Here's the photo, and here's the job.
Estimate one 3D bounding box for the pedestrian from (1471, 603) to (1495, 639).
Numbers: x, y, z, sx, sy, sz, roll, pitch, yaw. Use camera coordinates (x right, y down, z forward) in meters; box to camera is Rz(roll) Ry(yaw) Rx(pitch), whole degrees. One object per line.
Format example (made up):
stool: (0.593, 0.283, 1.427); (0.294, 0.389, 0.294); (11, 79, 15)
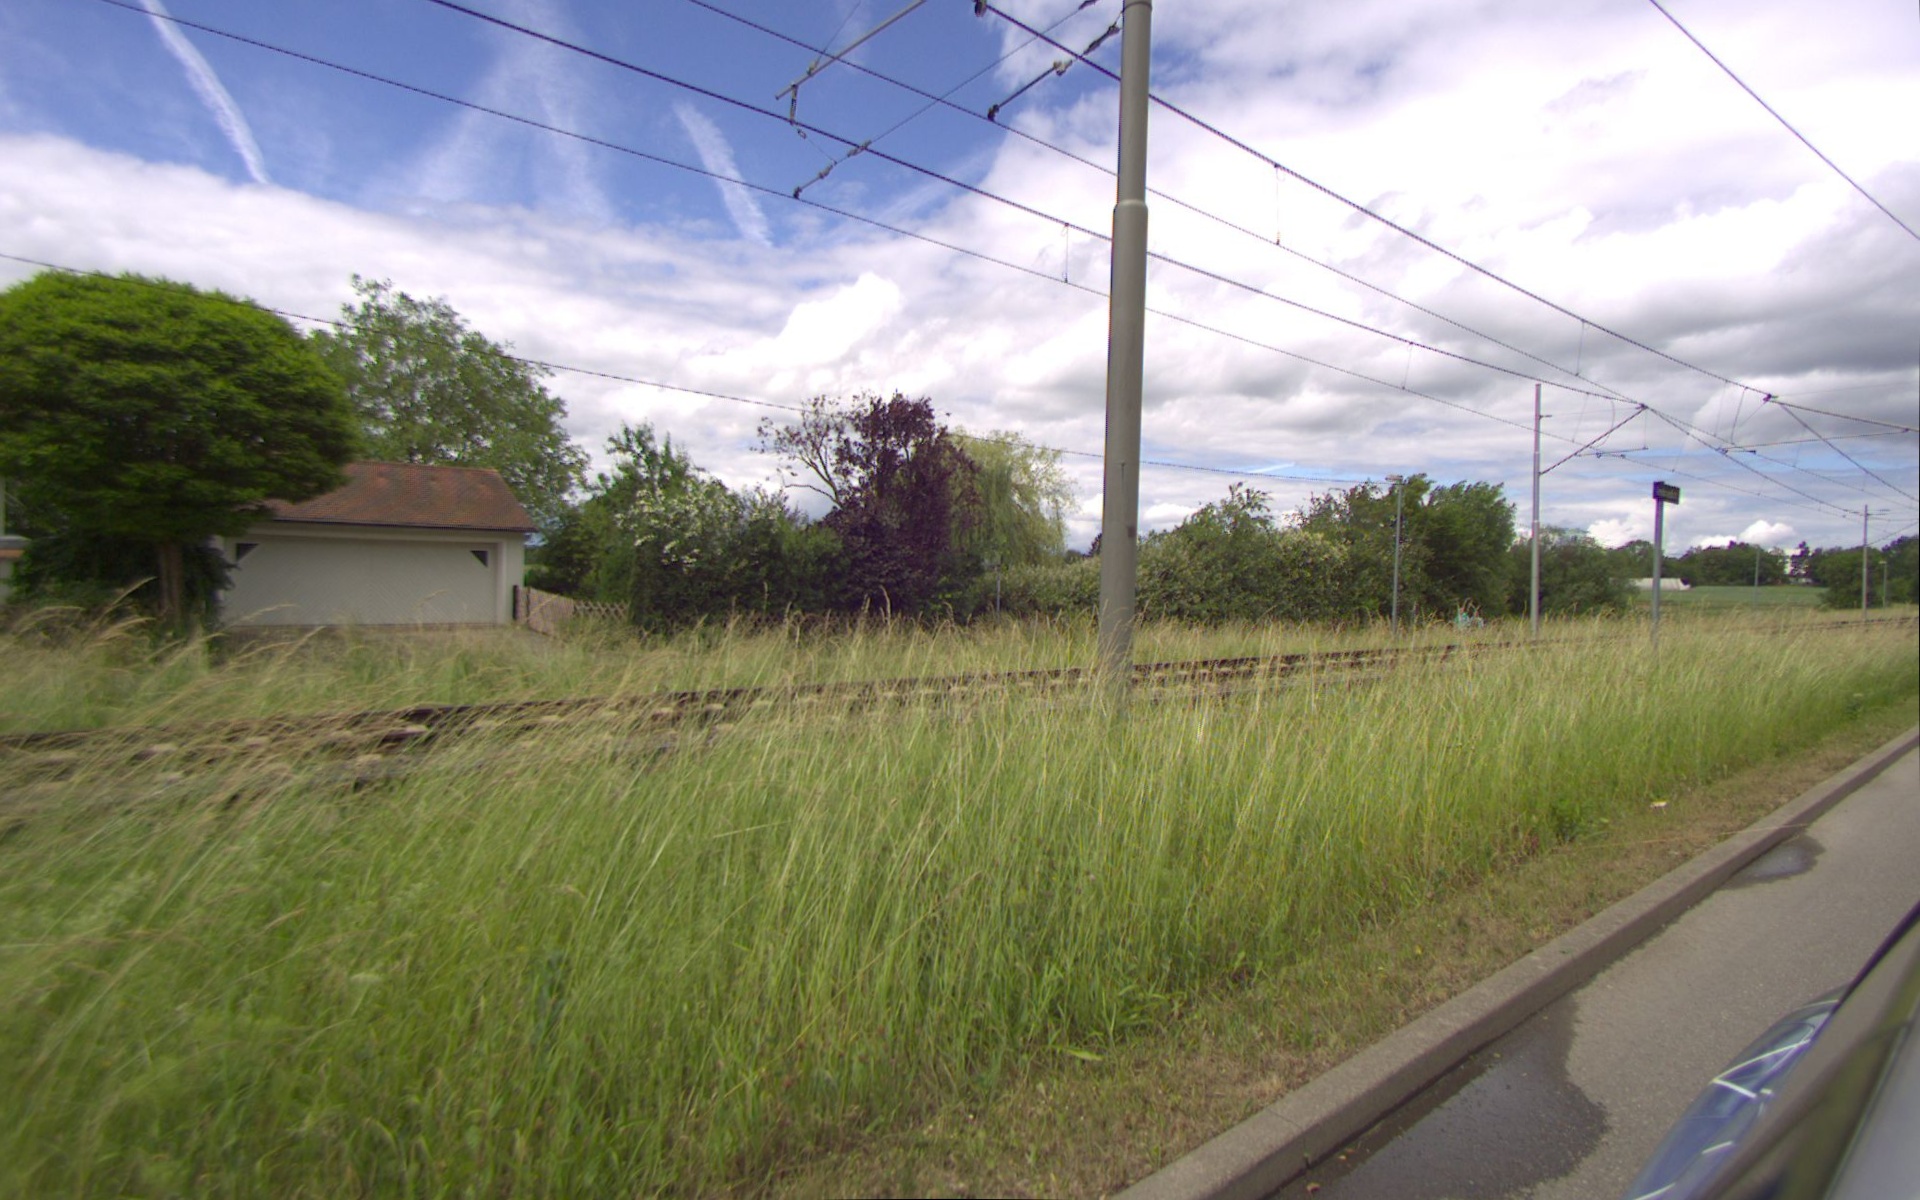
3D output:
pedestrian: (21.382, 0.835, 41.359); (0.653, 1.449, 0.600); (0, -1, -29)

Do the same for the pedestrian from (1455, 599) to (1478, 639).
pedestrian: (21.028, 0.766, 42.044); (0.572, 1.643, 0.619); (0, -1, -28)
